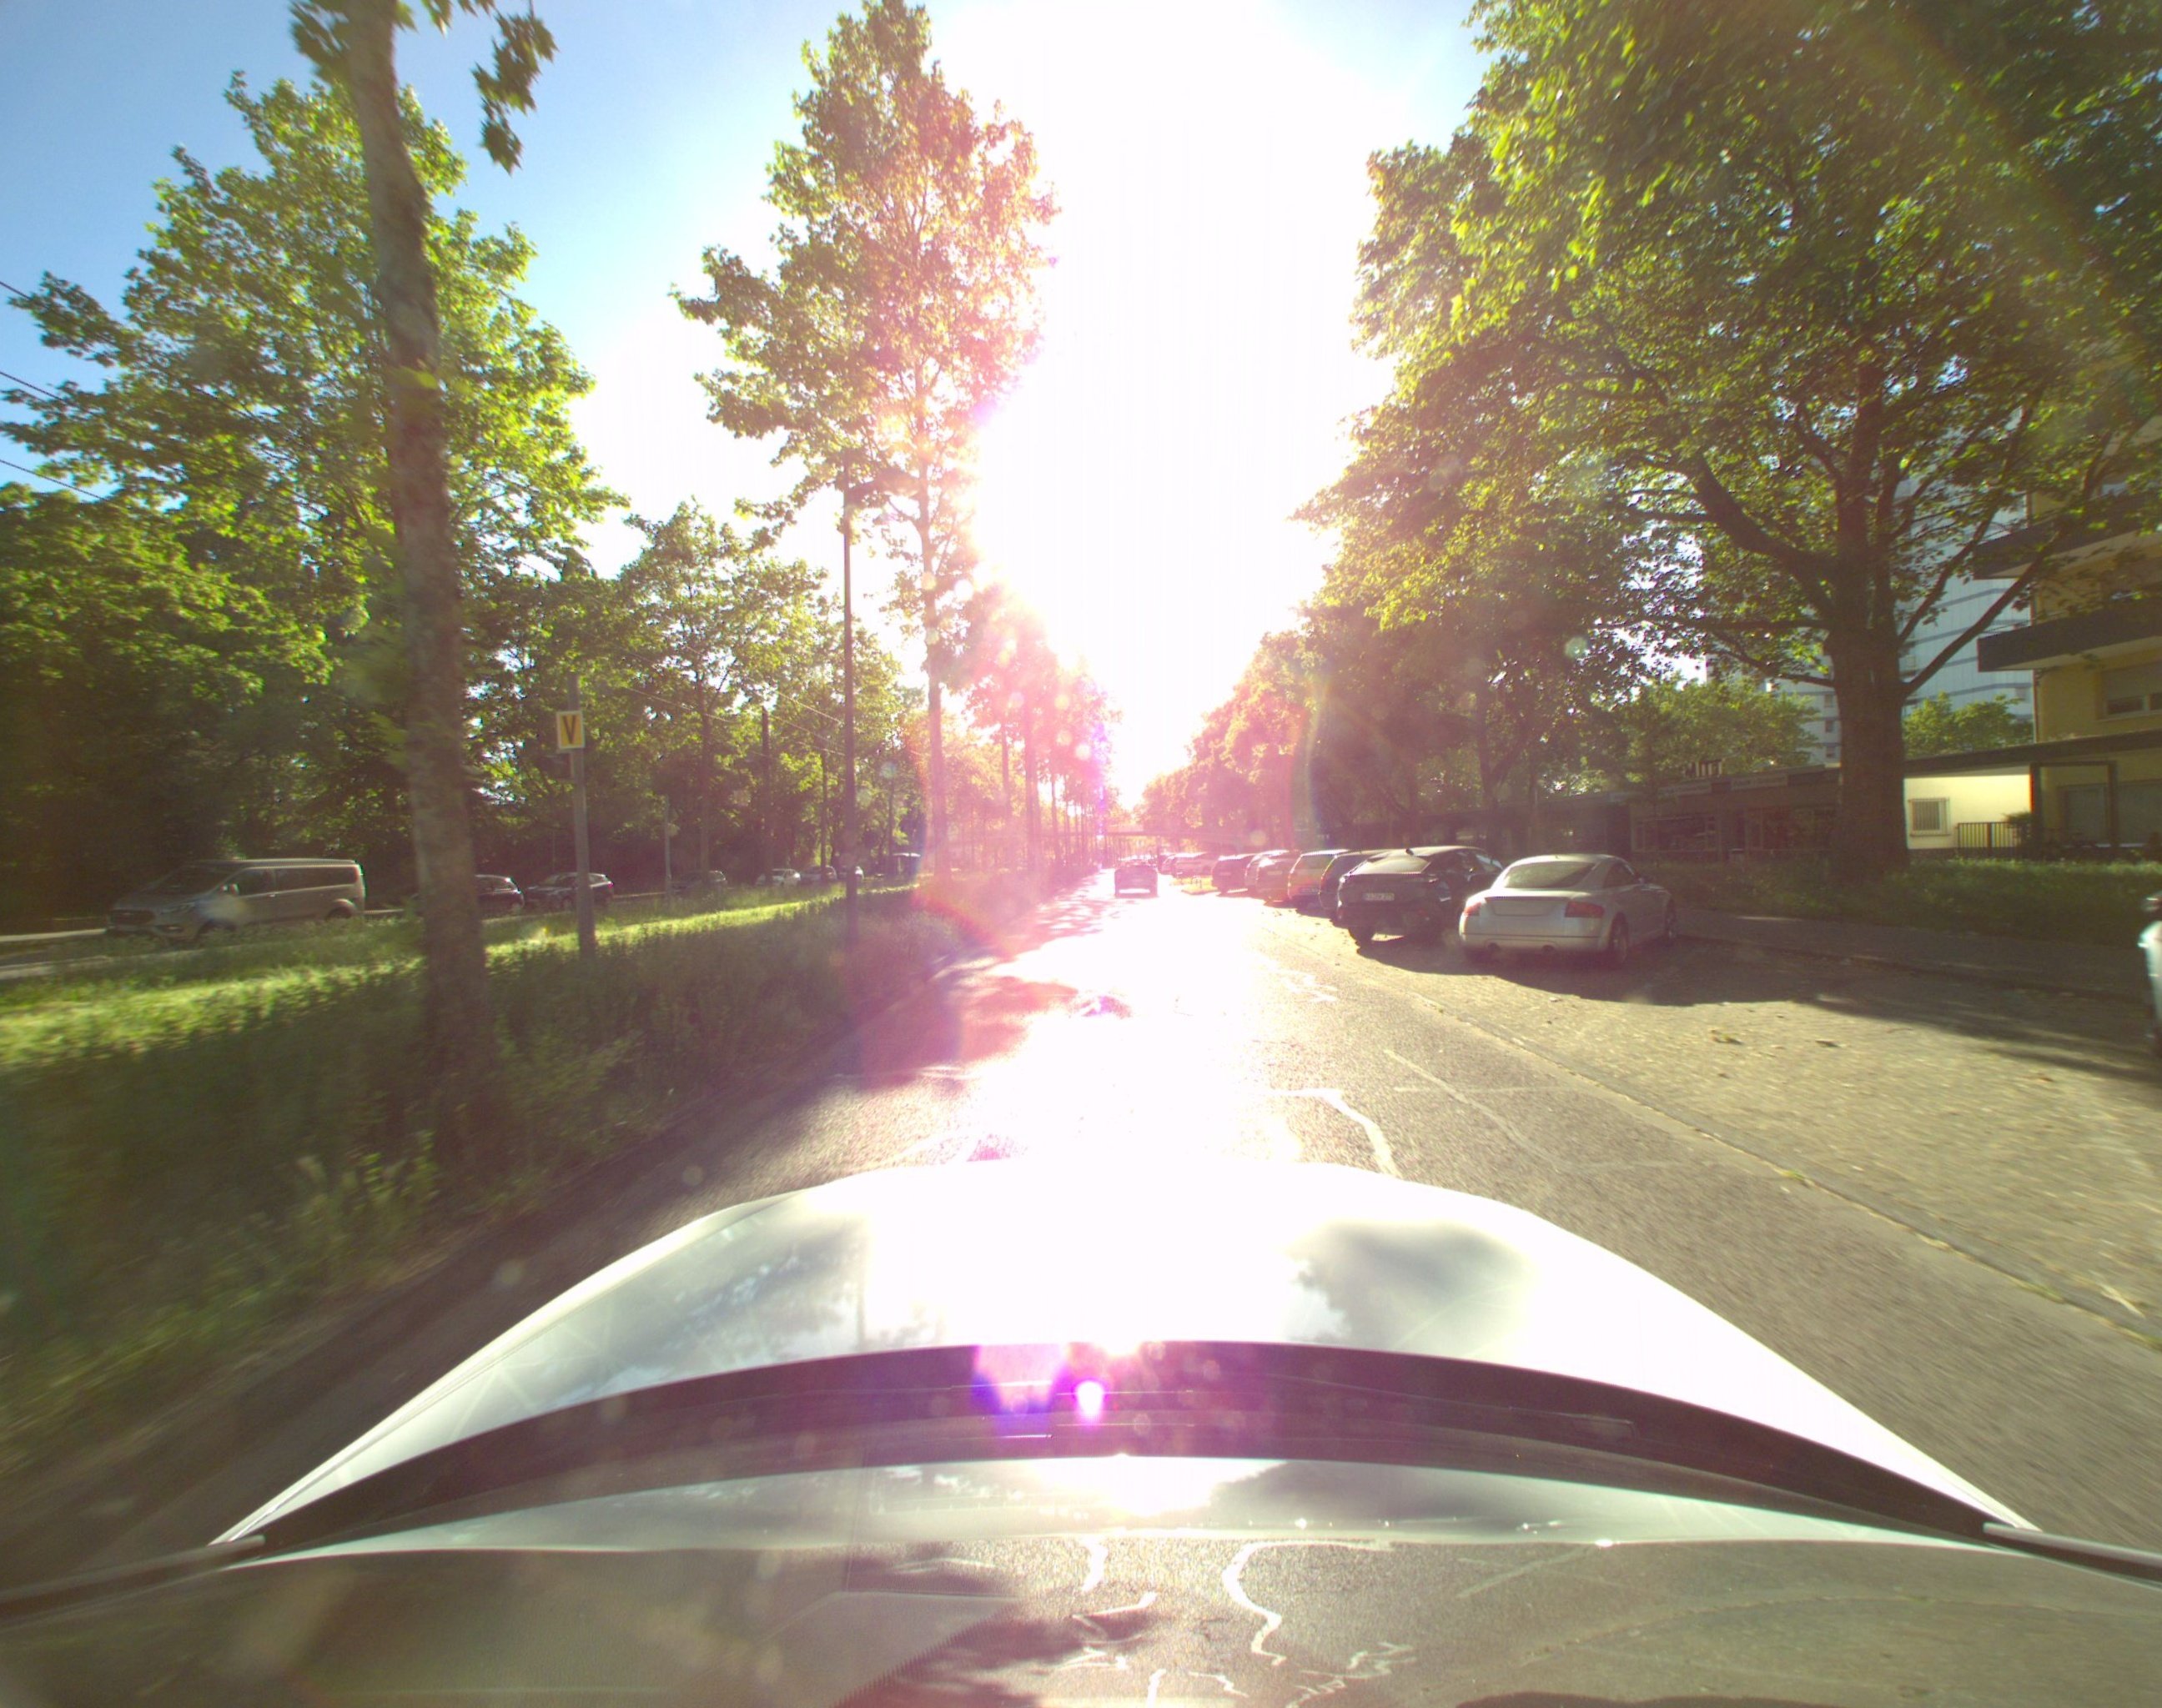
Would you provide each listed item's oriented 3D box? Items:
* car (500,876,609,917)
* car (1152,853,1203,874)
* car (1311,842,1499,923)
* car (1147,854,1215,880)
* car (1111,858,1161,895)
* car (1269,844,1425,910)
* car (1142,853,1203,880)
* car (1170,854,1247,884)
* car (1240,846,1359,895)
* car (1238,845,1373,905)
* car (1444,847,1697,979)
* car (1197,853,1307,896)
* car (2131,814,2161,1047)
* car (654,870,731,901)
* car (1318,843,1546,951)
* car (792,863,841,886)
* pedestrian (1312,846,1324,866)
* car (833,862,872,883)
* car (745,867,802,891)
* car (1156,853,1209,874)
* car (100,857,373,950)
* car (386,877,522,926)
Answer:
[{"bbox_3d":[-21.207,1.684,32.974,1.864,1.453,3.578,1,0,4],"label":"car"},{"bbox_3d":[8.636,0.844,72.849,4.648,1.768,1.835,0,-1,-41],"label":"car"},{"bbox_3d":[7.226,0.581,17.957,4.485,1.450,1.897,-2,-2,-41],"label":"car"},{"bbox_3d":[6.718,0.861,54.617,4.649,1.521,1.835,-2,0,-41],"label":"car"},{"bbox_3d":[2.278,0.897,34.122,1.914,1.411,4.003,-1,0,3],"label":"car"},{"bbox_3d":[7.076,0.572,21.409,4.487,1.450,1.896,-2,-2,-43],"label":"car"},{"bbox_3d":[6.593,0.856,58.270,1.833,1.680,4.638,-5,-2,44],"label":"car"},{"bbox_3d":[7.528,0.854,47.825,4.648,1.680,1.835,0,-1,-41],"label":"car"},{"bbox_3d":[7.892,0.562,29.230,4.650,1.570,1.834,-2,-1,-42],"label":"car"},{"bbox_3d":[7.084,0.621,25.421,4.651,1.570,1.834,-3,0,-43],"label":"car"},{"bbox_3d":[6.711,0.659,10.948,4.353,1.297,1.671,-3,0,-42],"label":"car"},{"bbox_3d":[6.811,0.769,32.084,4.651,1.459,1.955,-2,-1,-44],"label":"car"},{"bbox_3d":[6.288,0.499,3.477,4.519,1.443,1.834,-3,0,-42],"label":"car"},{"bbox_3d":[-20.723,1.665,43.647,1.985,1.453,4.004,1,0,4],"label":"car"},{"bbox_3d":[6.057,0.626,13.801,4.353,1.424,1.834,-3,0,-42],"label":"car"},{"bbox_3d":[-19.827,1.503,61.225,1.985,1.590,4.172,1,0,4],"label":"car"},{"bbox_3d":[24.307,0.245,83.602,0.826,2.014,0.742,-1,-1,-39],"label":"pedestrian"},{"bbox_3d":[-18.811,1.500,67.277,1.779,1.590,4.172,1,0,4],"label":"car"},{"bbox_3d":[-20.381,1.652,54.152,1.985,1.453,4.004,1,0,4],"label":"car"},{"bbox_3d":[8.715,0.823,69.695,4.648,1.680,1.835,0,-1,-41],"label":"car"},{"bbox_3d":[-21.344,1.130,20.976,1.638,2.093,4.920,1,0,4],"label":"car"},{"bbox_3d":[-21.425,1.589,28.017,1.638,1.453,3.667,1,0,4],"label":"car"}]
